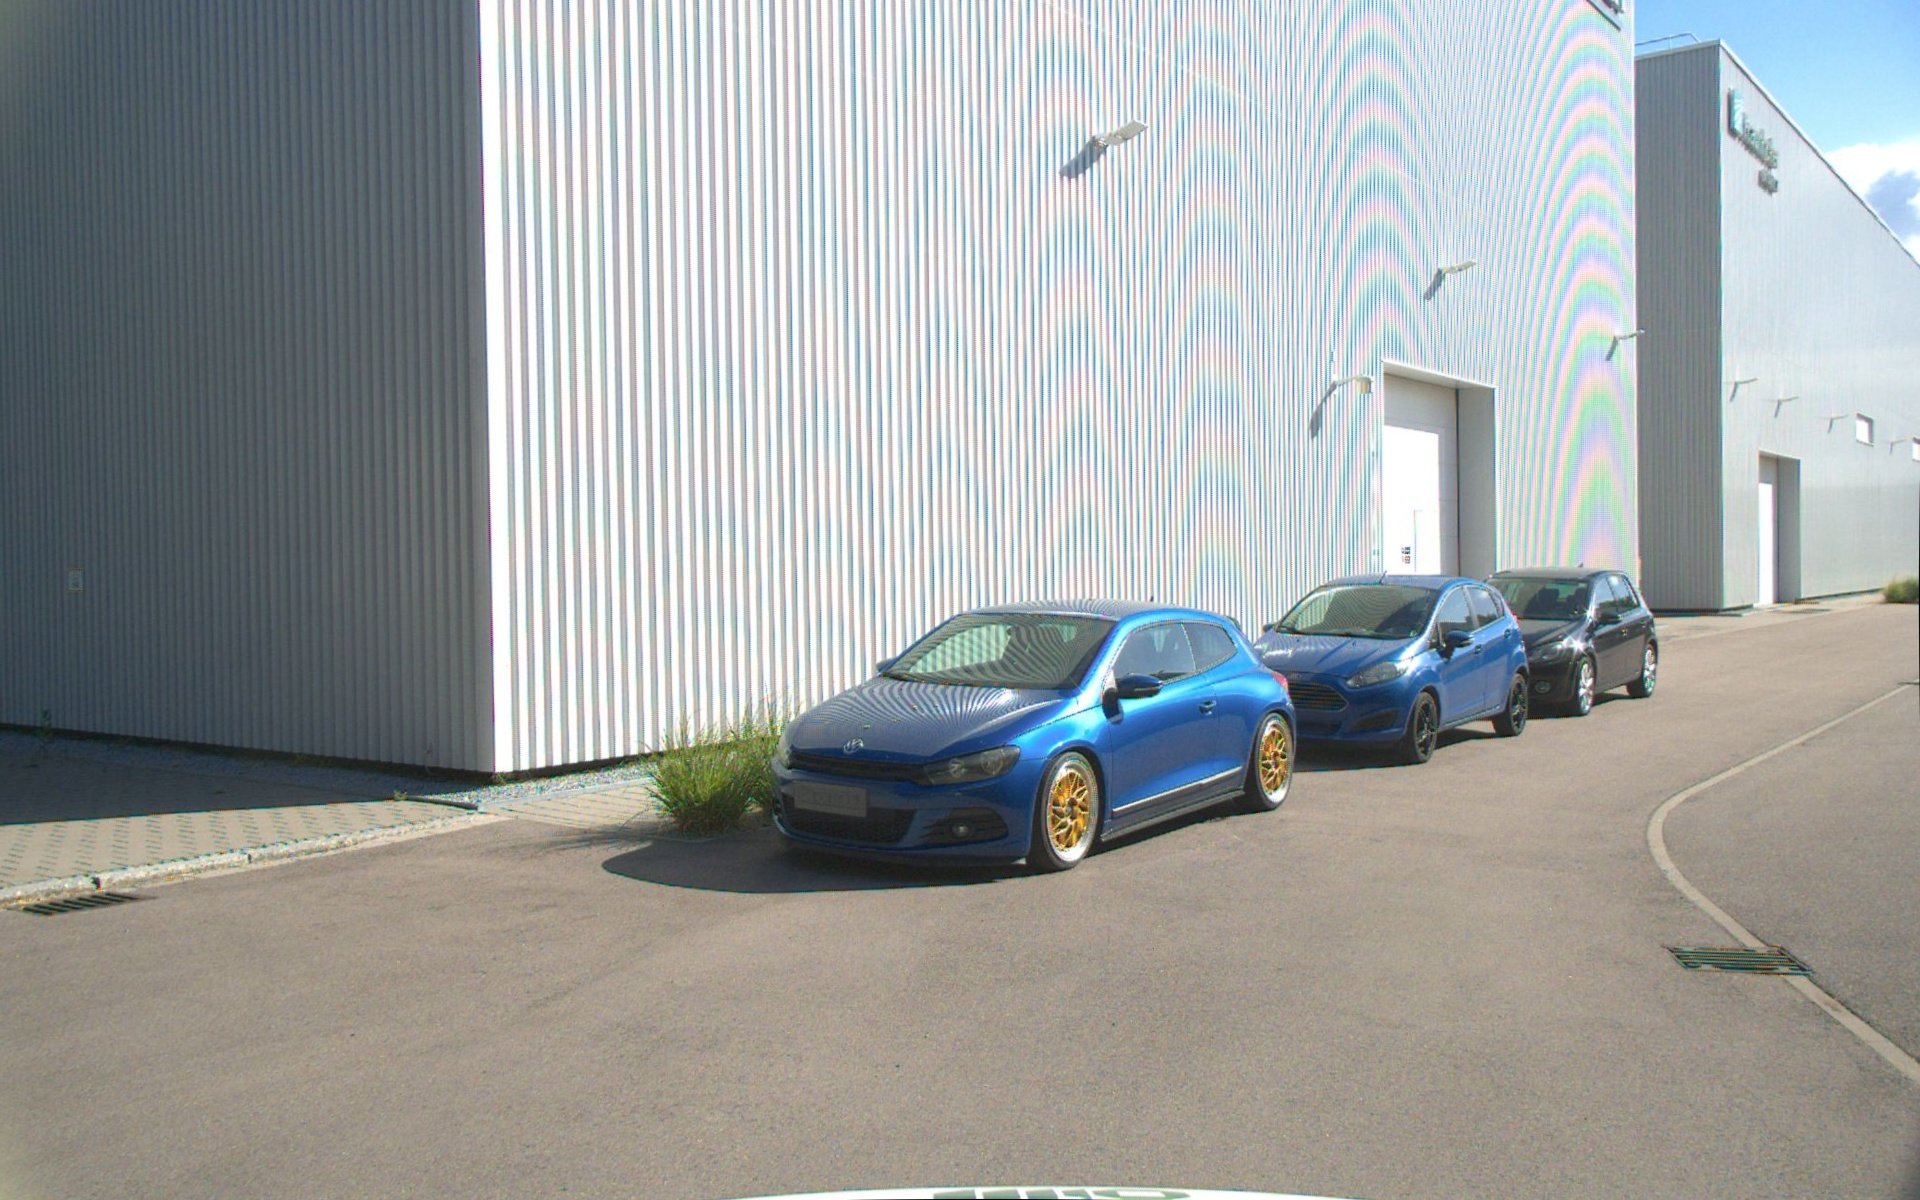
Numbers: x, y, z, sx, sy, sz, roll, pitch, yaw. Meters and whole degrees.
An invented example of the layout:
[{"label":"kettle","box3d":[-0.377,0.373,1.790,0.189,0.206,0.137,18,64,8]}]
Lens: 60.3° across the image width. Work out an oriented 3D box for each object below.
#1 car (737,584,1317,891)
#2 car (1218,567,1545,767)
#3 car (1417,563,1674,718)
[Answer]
[{"label":"car","box3d":[0.601,0.640,10.023,1.640,1.373,3.940,1,2,36]},{"label":"car","box3d":[3.822,0.470,14.579,1.592,1.472,3.752,1,2,35]},{"label":"car","box3d":[6.646,0.360,18.536,1.623,1.471,3.862,3,3,36]}]
